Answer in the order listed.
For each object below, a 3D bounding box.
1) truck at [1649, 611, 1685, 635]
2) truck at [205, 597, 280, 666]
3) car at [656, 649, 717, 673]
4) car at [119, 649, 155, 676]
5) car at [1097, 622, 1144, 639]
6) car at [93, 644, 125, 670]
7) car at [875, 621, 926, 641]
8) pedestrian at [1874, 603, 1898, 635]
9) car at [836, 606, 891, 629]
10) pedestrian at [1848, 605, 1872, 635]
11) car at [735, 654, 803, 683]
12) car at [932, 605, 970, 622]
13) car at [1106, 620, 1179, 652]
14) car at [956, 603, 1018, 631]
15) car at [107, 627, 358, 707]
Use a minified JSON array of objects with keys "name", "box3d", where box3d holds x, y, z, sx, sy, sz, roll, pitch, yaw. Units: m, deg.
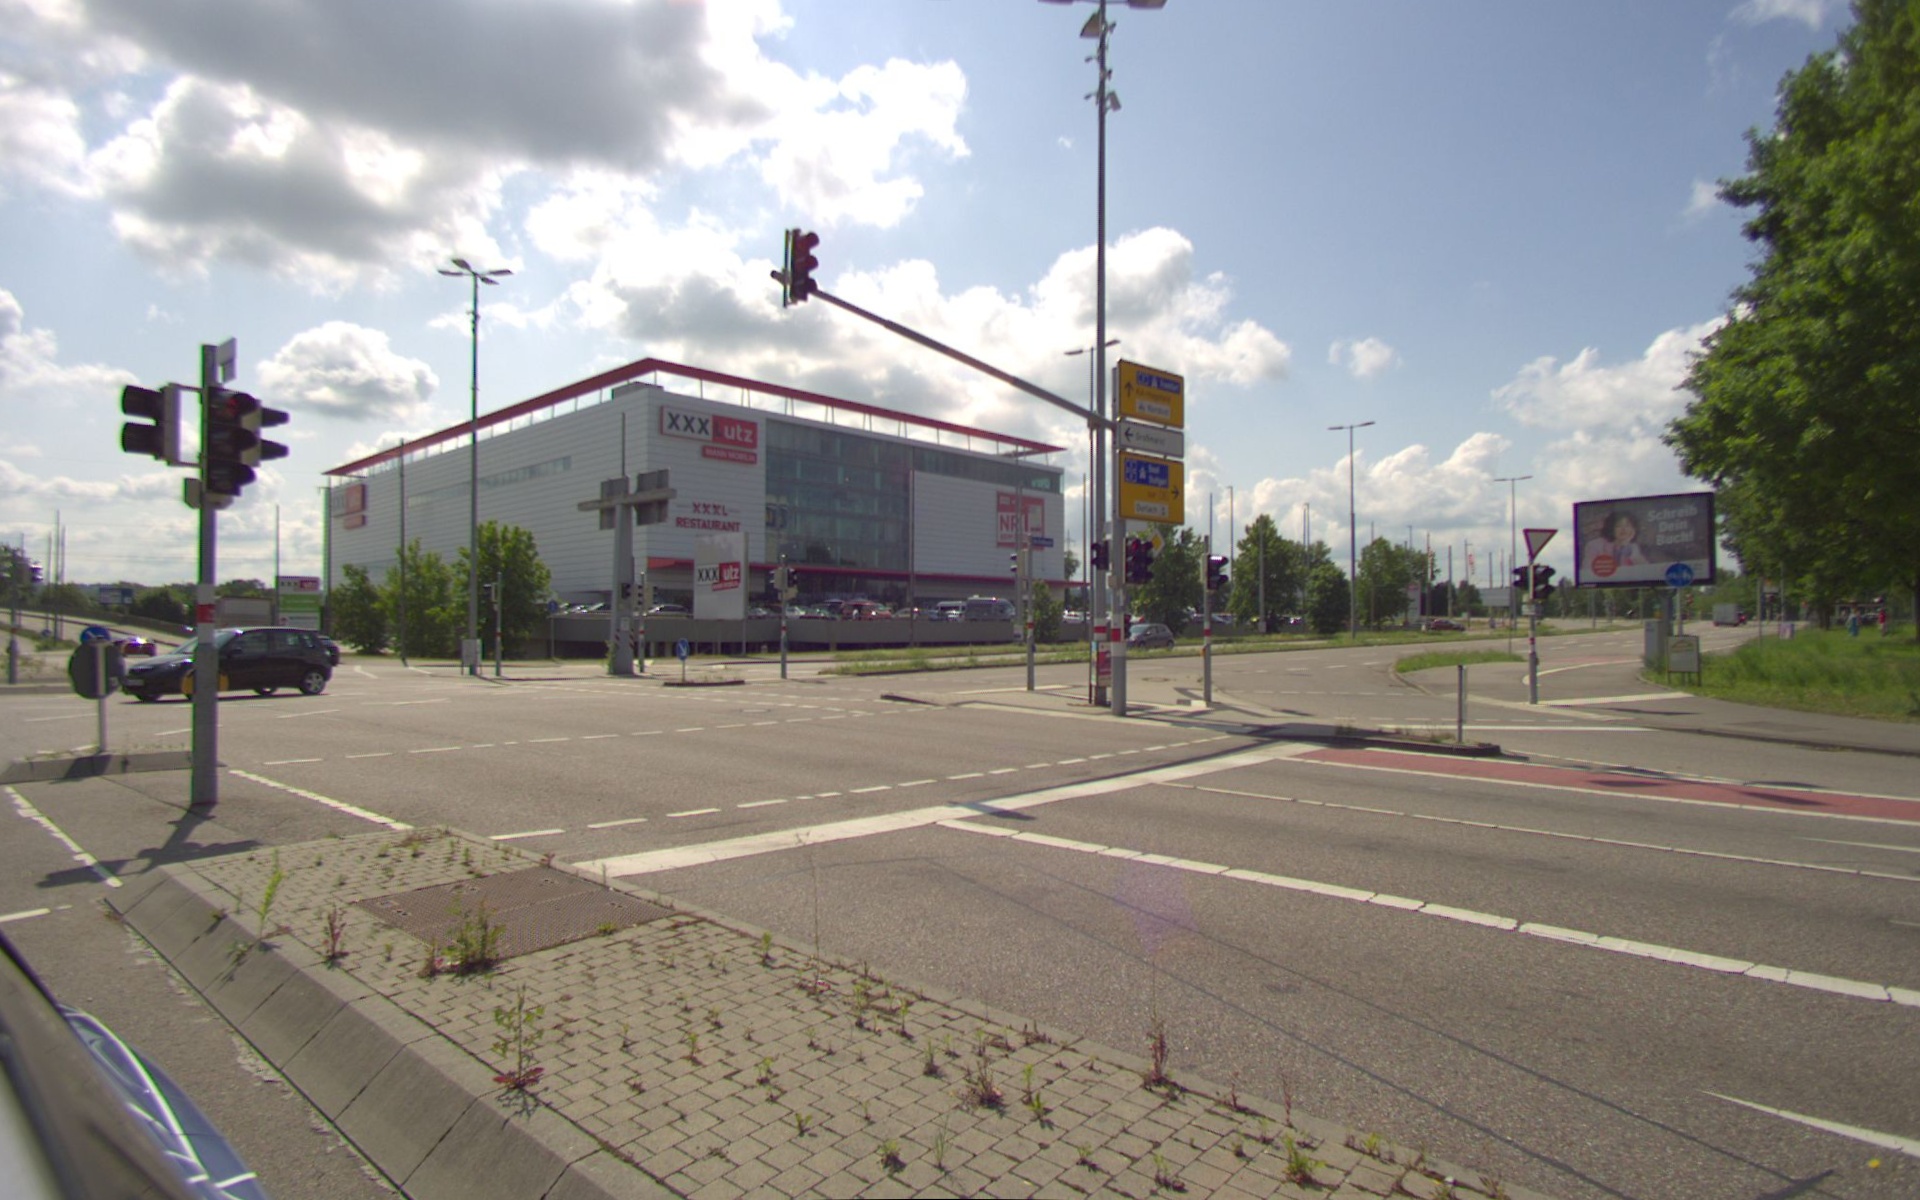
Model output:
[{"name":"truck","box3d":[89.322,2.889,127.817,2.974,2.773,5.703,-4,-3,42]},{"name":"truck","box3d":[-45.342,2.057,63.828,3.172,4.058,9.085,0,-3,-40]},{"name":"car","box3d":[-21.716,4.834,80.401,1.999,1.763,4.303,-3,-3,41]},{"name":"car","box3d":[-55.125,4.167,67.841,1.835,1.668,4.226,-1,-2,-39]},{"name":"car","box3d":[16.606,3.191,104.743,4.425,1.618,1.926,-3,-3,44]},{"name":"car","box3d":[-66.871,4.488,79.560,1.835,1.668,4.225,1,-7,-40]},{"name":"car","box3d":[-5.217,2.732,87.843,4.425,1.618,1.926,-3,-3,44]},{"name":"pedestrian","box3d":[53.247,1.094,58.186,1.147,1.741,0.855,0,-3,-43]},{"name":"car","box3d":[-8.011,1.438,84.028,4.174,1.763,1.896,-3,-2,32]},{"name":"pedestrian","box3d":[53.010,1.177,59.626,1.147,1.741,0.855,0,-3,-43]},{"name":"car","box3d":[-13.174,4.713,69.966,1.999,1.763,4.303,-3,-3,41]},{"name":"car","box3d":[-0.986,1.522,113.002,4.001,1.763,1.889,-4,-3,44]},{"name":"car","box3d":[9.295,1.815,51.332,1.608,1.542,4.207,-2,-3,44]},{"name":"car","box3d":[2.412,1.529,90.729,5.797,2.301,1.725,-4,-3,42]},{"name":"car","box3d":[-15.499,1.438,21.865,1.595,1.542,4.243,-1,-4,18]}]
